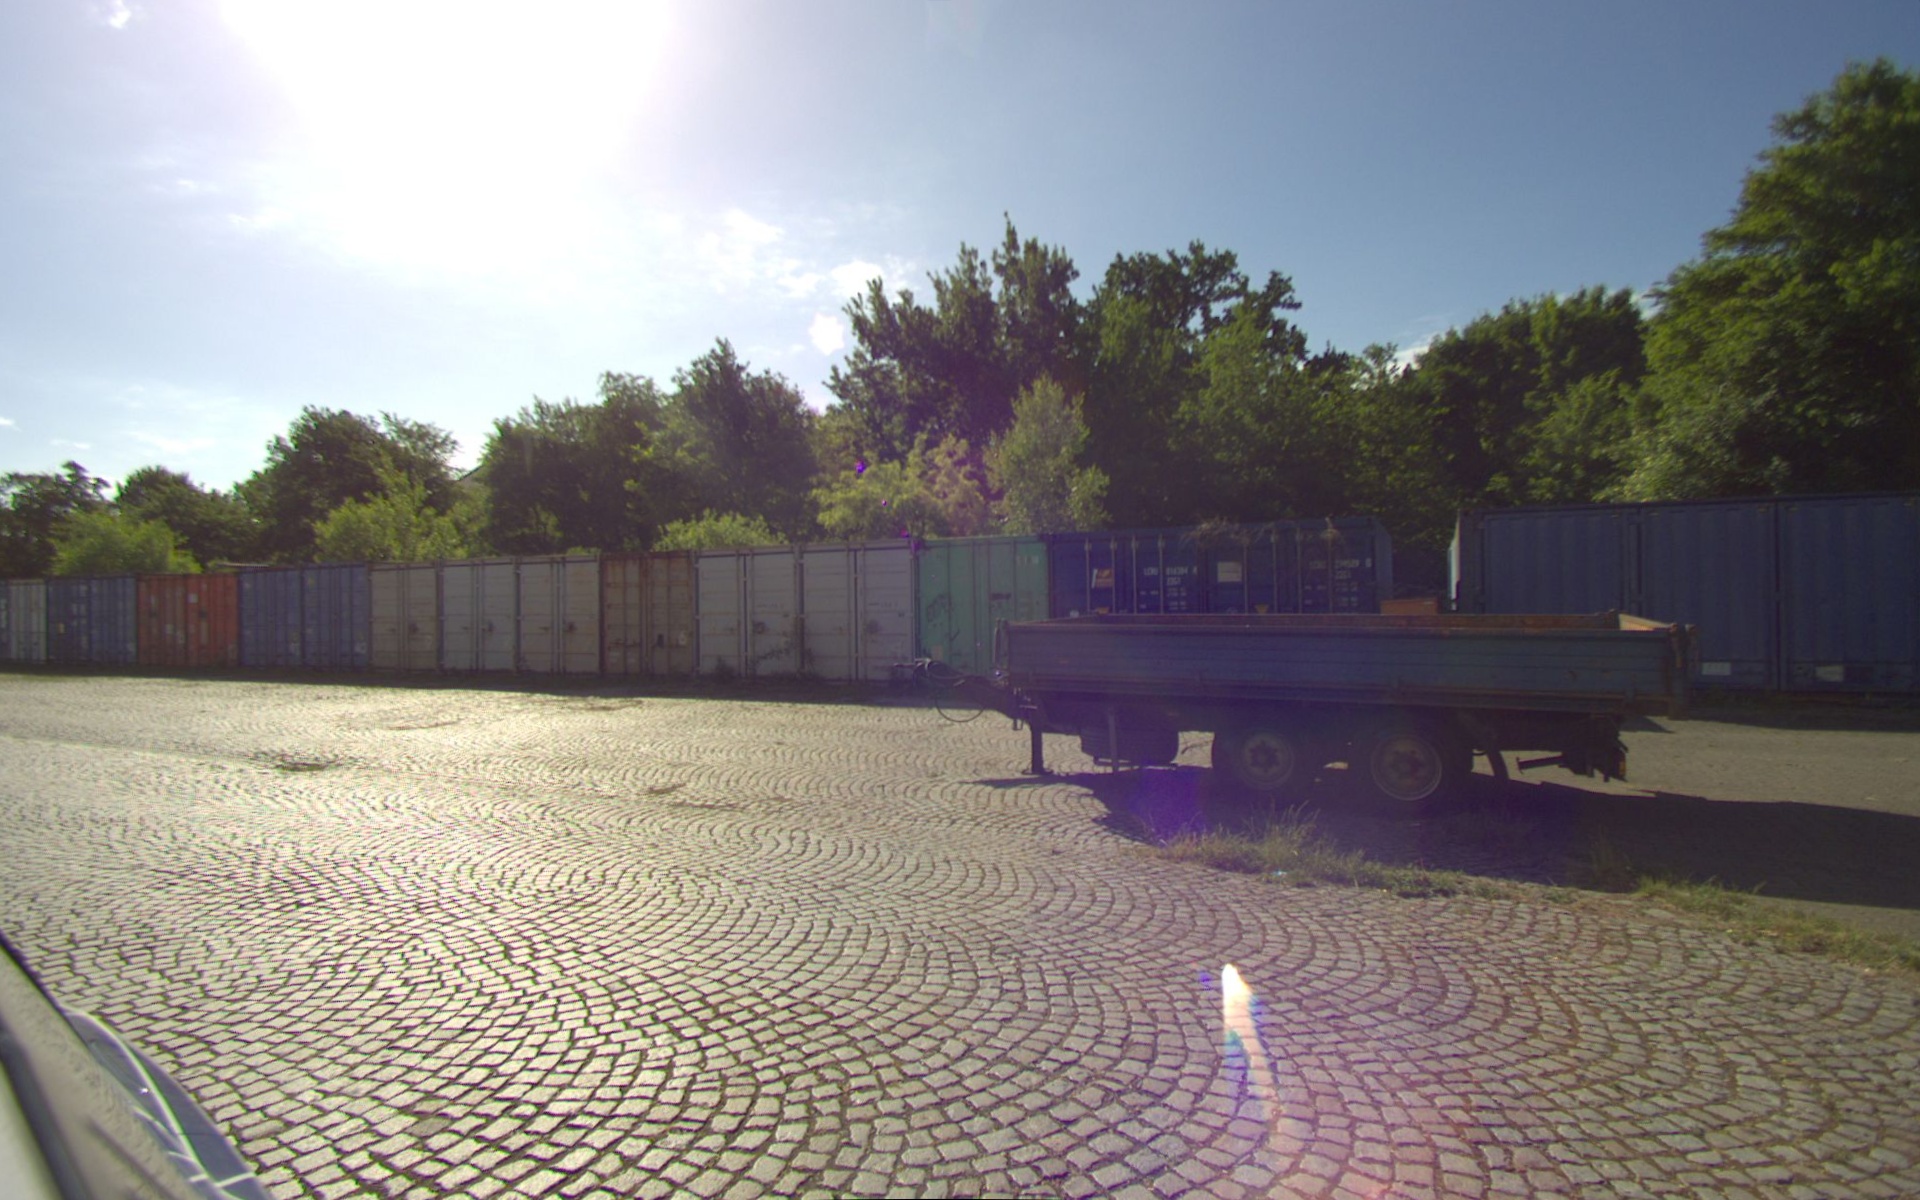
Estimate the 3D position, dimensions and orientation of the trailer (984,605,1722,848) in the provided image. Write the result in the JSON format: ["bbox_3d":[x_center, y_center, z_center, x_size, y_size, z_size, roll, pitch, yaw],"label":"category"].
[{"bbox_3d":[2.926,0.783,8.284,4.837,1.425,2.625,-1,0,27],"label":"trailer"}]
